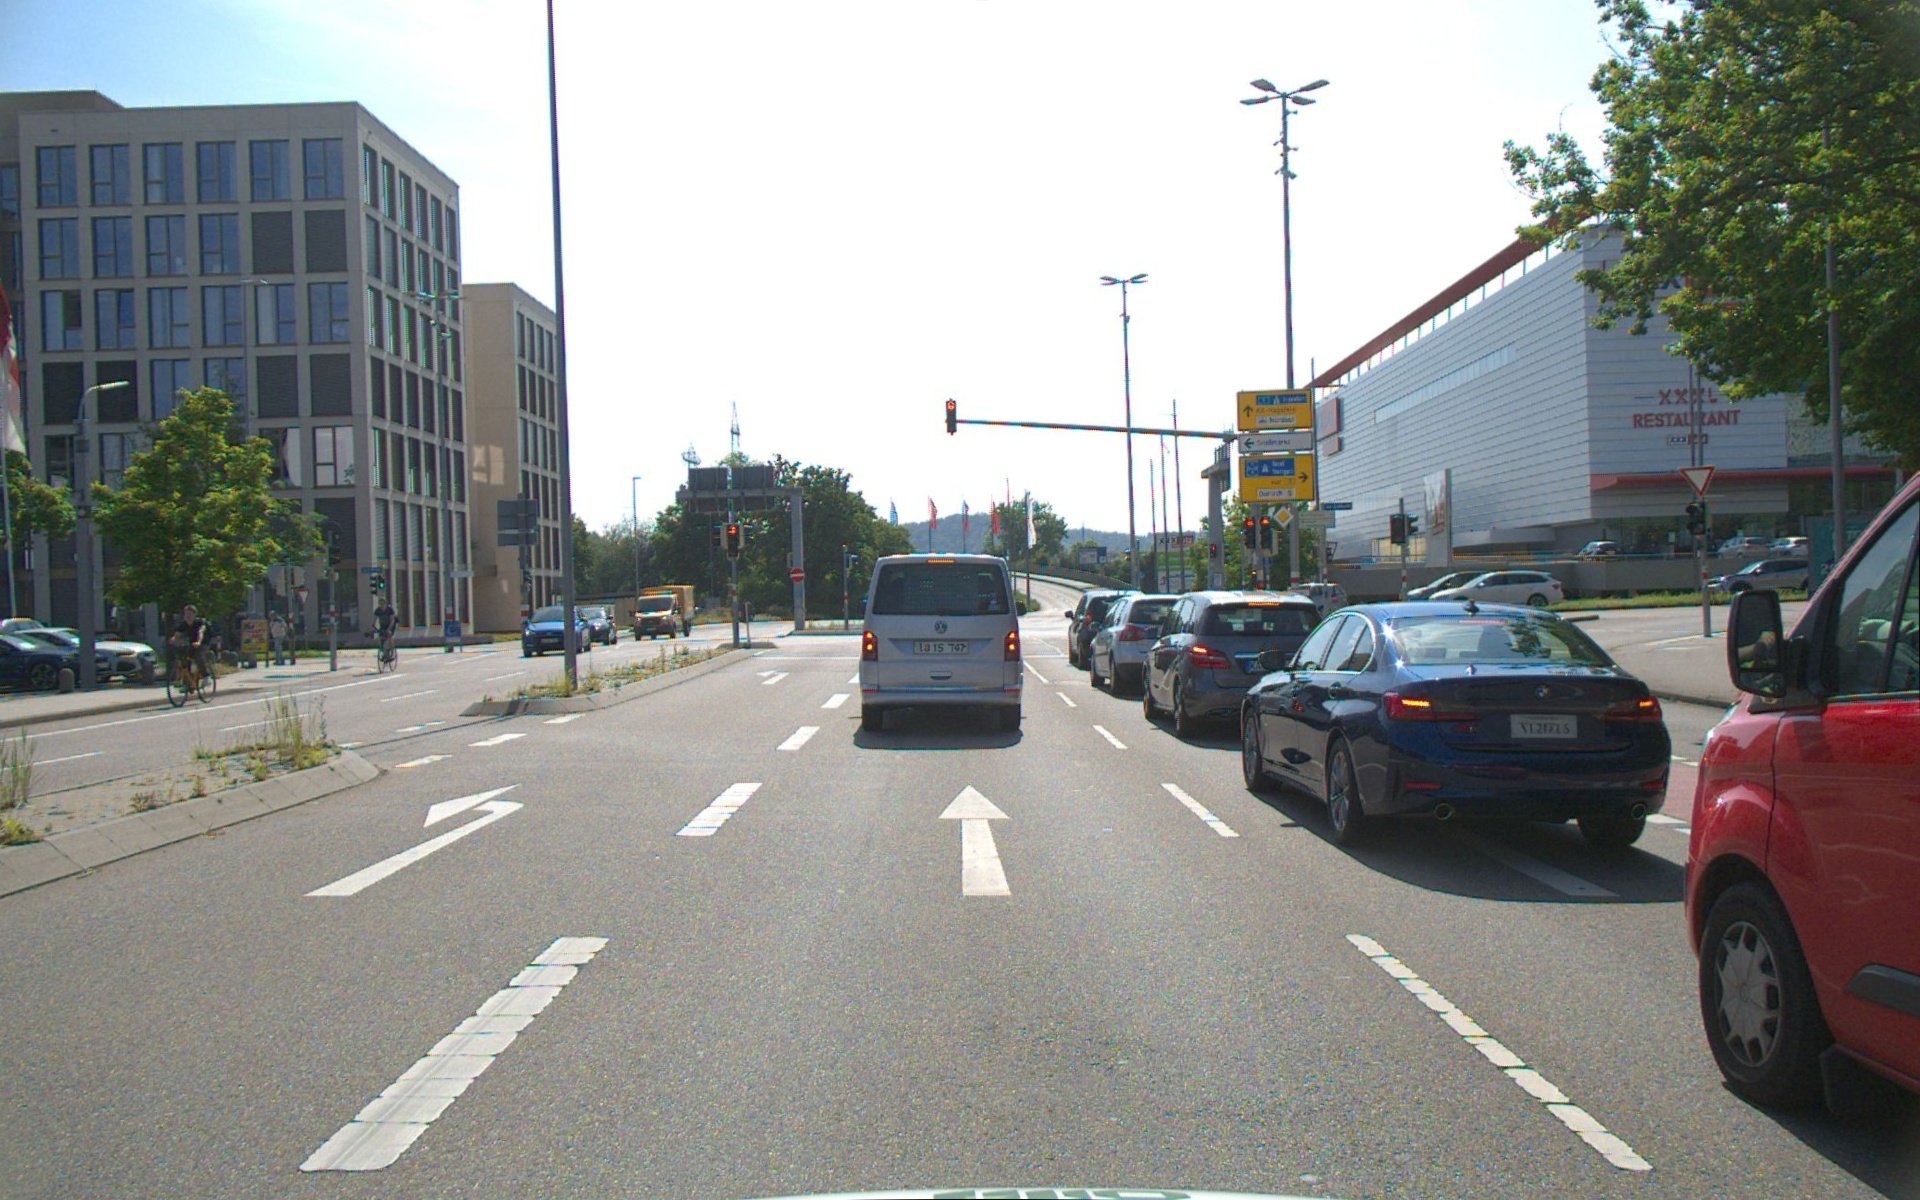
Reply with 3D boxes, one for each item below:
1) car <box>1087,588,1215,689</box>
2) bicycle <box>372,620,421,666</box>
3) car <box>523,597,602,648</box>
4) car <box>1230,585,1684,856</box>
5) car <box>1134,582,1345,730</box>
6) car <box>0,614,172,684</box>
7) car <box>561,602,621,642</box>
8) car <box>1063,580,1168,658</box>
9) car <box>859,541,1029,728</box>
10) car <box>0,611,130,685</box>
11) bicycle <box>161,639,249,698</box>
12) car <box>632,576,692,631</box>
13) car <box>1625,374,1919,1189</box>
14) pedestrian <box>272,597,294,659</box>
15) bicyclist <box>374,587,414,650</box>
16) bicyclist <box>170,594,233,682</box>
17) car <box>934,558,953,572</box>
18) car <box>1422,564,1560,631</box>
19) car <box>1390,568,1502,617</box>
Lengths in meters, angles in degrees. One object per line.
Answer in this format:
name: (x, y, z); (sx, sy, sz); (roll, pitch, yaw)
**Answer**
car: (2.958, 0.554, 26.294); (1.546, 1.483, 3.785); (0, 0, -1)
bicycle: (-14.166, 1.076, 41.607); (0.573, 1.069, 1.876); (-3, 0, -1)
car: (-12.325, 0.677, 51.474); (1.648, 1.382, 3.839); (-2, 1, -3)
car: (3.098, 0.647, 11.328); (1.711, 1.484, 4.475); (0, 0, -1)
car: (3.133, 0.569, 19.281); (1.711, 1.543, 4.077); (0, 0, -1)
car: (-21.993, 1.207, 41.546); (3.521, 1.381, 1.640); (-5, 1, 0)
car: (-14.470, 0.838, 65.084); (1.545, 1.434, 4.377); (-2, 0, -3)
car: (3.225, 0.371, 35.022); (1.799, 1.552, 3.999); (0, 0, -1)
car: (-0.195, 0.362, 19.921); (1.846, 2.025, 3.999); (0, 0, -1)
car: (-22.035, 1.180, 39.084); (3.795, 1.490, 1.868); (-5, 1, 1)
bicycle: (-13.828, 1.244, 30.341); (0.666, 0.957, 1.973); (-2, 0, 0)
car: (-15.192, 0.156, 84.671); (2.358, 2.605, 6.888); (-2, 0, -5)
car: (3.334, 0.450, 3.256); (1.927, 2.002, 5.124); (0, 0, -1)
pedestrian: (-22.491, 0.938, 54.987); (0.548, 2.049, 0.575); (0, 0, -9)
bicyclist: (-14.192, 0.451, 41.481); (0.617, 1.527, 1.028); (-2, 0, -1)
bicyclist: (-13.931, 0.679, 30.389); (0.606, 1.553, 1.036); (-2, 0, 0)
car: (-2.506, -5.279, 249.883); (1.961, 2.049, 3.983); (0, 0, -16)
car: (18.711, -0.084, 58.414); (4.310, 2.029, 1.482); (-4, 0, 4)
car: (18.039, -0.274, 61.496); (3.694, 1.545, 1.482); (-4, 0, 4)
